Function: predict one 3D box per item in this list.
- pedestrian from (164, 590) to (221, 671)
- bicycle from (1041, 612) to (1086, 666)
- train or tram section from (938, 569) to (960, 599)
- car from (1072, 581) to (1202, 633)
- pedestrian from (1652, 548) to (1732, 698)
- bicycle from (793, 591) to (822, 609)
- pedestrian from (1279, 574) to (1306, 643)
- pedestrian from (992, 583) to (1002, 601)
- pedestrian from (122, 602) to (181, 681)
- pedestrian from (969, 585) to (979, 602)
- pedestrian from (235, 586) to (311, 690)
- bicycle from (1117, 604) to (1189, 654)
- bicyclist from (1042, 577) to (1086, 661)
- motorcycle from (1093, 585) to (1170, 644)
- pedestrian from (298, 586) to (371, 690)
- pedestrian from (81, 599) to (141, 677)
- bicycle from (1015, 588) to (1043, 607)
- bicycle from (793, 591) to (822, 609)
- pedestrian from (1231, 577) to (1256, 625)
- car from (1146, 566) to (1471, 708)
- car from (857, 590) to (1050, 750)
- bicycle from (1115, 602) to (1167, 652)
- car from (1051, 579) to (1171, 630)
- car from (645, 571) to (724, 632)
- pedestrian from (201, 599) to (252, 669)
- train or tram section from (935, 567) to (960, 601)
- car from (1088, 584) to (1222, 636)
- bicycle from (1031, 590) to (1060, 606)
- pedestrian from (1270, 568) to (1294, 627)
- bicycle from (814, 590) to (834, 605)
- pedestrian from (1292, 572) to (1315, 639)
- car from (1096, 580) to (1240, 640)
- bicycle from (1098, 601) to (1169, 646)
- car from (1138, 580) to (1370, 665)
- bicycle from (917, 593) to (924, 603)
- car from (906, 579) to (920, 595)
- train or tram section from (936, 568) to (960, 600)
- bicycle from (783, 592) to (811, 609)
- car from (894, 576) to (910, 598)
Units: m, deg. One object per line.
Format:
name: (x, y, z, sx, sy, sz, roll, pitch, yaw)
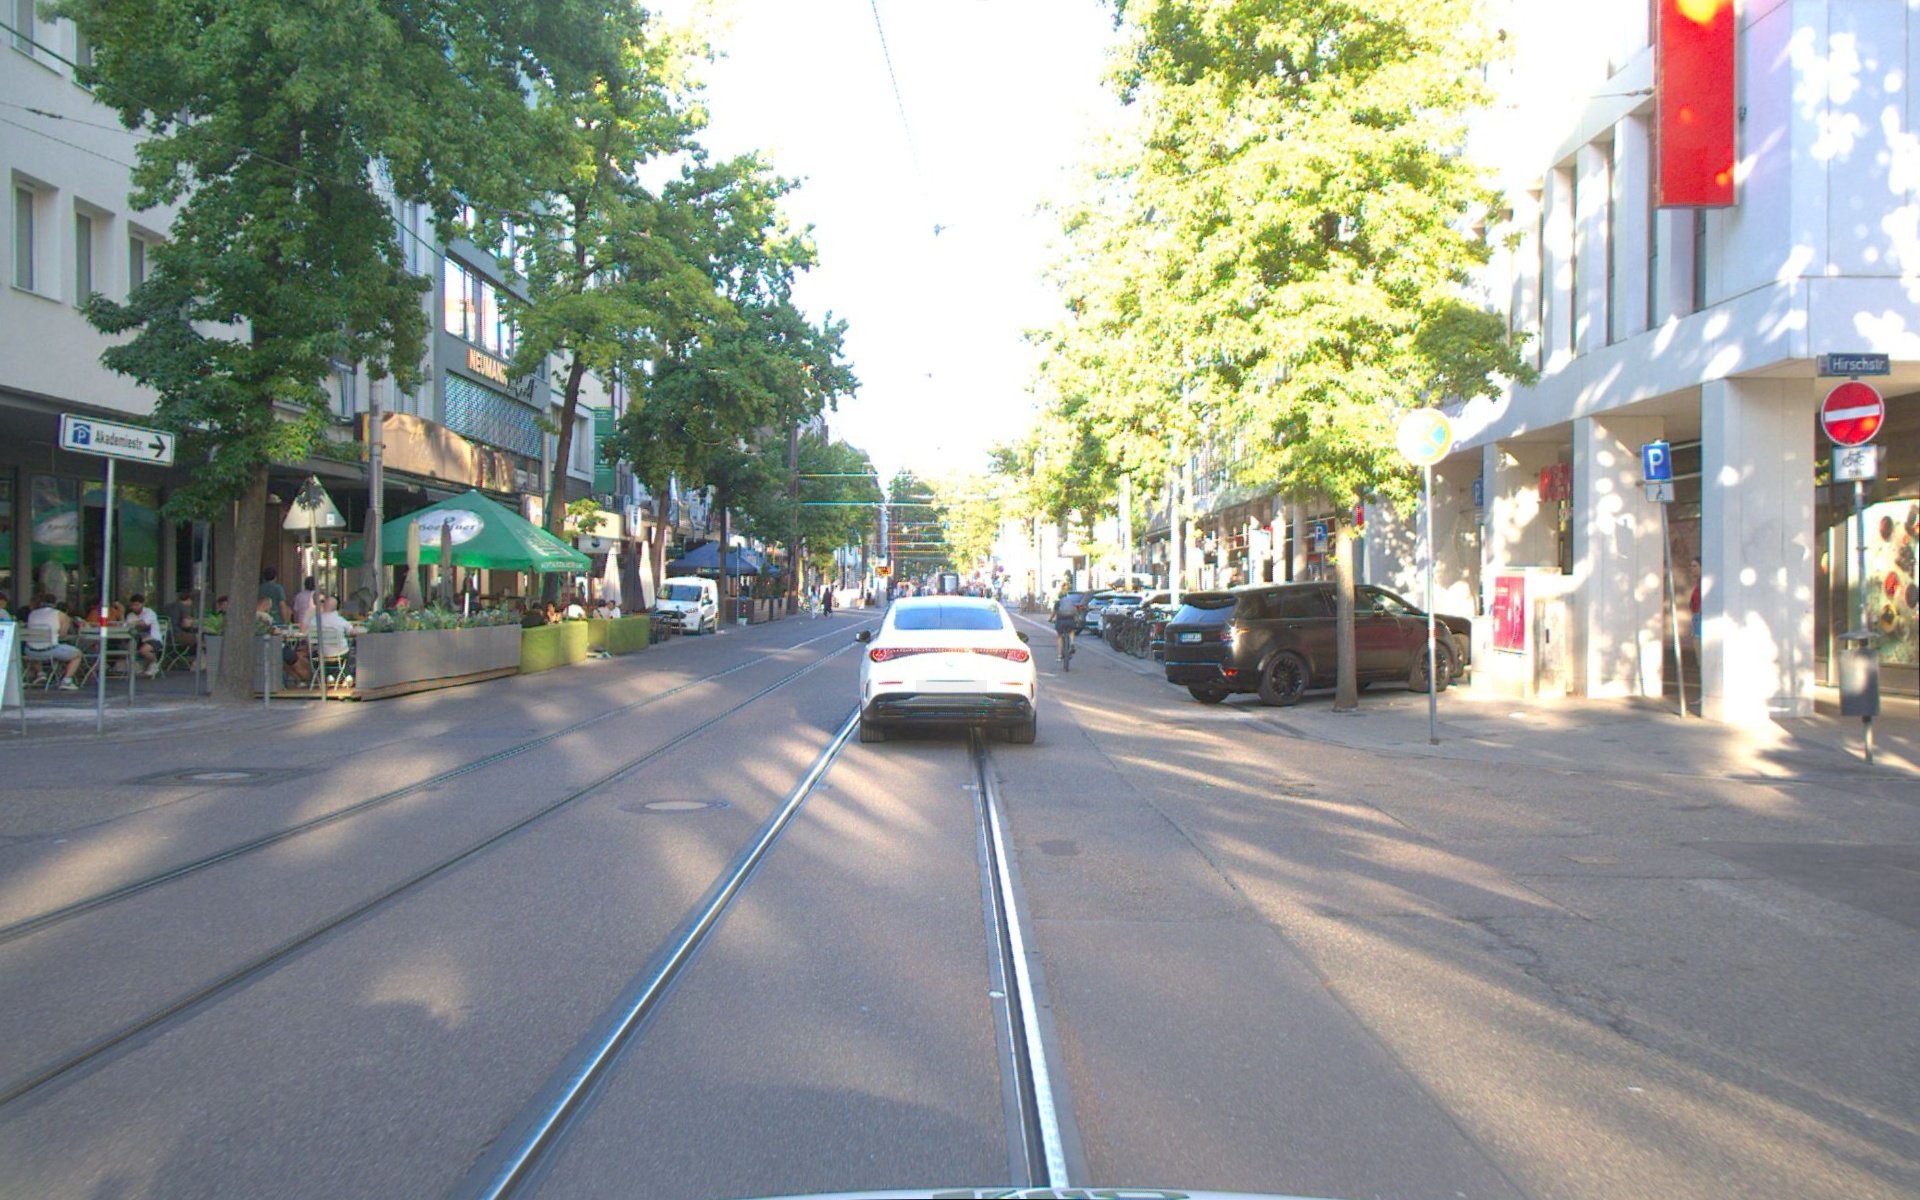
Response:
pedestrian: (-12.873, 0.504, 27.746, 0.590, 1.321, 0.687, 2, 0, 0)
bicycle: (2.106, 0.773, 33.426, 0.703, 1.012, 2.060, 2, 1, 9)
train or tram section: (-1.401, -1.954, 205.222, 2.639, 3.578, 11.142, 0, 0, 0)
car: (6.160, 0.237, 57.450, 4.194, 1.615, 1.864, -3, 1, -32)
pedestrian: (9.244, 0.288, 20.876, 0.740, 1.850, 0.801, -3, -1, 33)
bicycle: (-9.507, 0.007, 102.909, 1.754, 1.096, 0.377, 1, 0, -5)
pedestrian: (8.691, 0.222, 43.241, 0.512, 1.781, 0.559, -2, 0, 2)
pedestrian: (3.958, -0.864, 177.107, 0.941, 1.816, 0.803, -2, 0, -1)
pedestrian: (-12.493, 0.635, 25.579, 0.541, 1.182, 0.687, 2, 0, 0)
pedestrian: (1.554, -0.700, 182.887, 0.941, 1.816, 0.803, -2, 0, -1)
pedestrian: (-9.623, 0.519, 23.193, 0.675, 1.410, 0.807, 2, 0, 0)
bicycle: (4.790, 0.705, 41.001, 1.543, 1.107, 0.860, -4, 2, -31)
bicyclist: (2.095, 0.371, 33.275, 0.761, 1.641, 0.913, 2, 0, 9)
motorcycle: (4.868, 0.407, 46.764, 2.302, 1.536, 0.845, -3, 0, -44)
pedestrian: (-8.793, 0.521, 23.282, 0.675, 1.410, 0.807, 2, 0, 0)
pedestrian: (-13.126, 0.580, 25.590, 0.541, 1.182, 0.687, 2, 0, 0)
bicycle: (5.021, -0.208, 120.327, 1.874, 1.303, 0.608, -2, 0, -12)
bicycle: (-9.472, 0.007, 102.481, 1.754, 1.096, 0.377, 1, 0, -5)
pedestrian: (9.931, 0.032, 57.999, 0.699, 1.652, 0.882, -1, 0, 1)
car: (5.256, 0.496, 24.839, 4.603, 1.794, 1.975, -3, 0, -30)
car: (-0.071, 0.656, 17.856, 1.819, 1.481, 4.175, 1, 0, 0)
bicycle: (4.738, 0.701, 43.248, 0.472, 1.183, 1.687, -3, 0, 39)
car: (5.619, 0.154, 61.433, 4.300, 1.681, 1.676, -3, 1, -32)
car: (-9.215, 0.040, 55.713, 1.759, 1.897, 4.554, 3, 1, 1)
pedestrian: (-12.683, 0.577, 28.601, 0.541, 1.182, 0.687, 2, 0, 0)
train or tram section: (-1.332, -1.752, 180.829, 2.639, 3.578, 12.544, 0, 0, 0)
car: (6.455, 0.316, 54.681, 4.092, 1.525, 1.676, -3, 1, -24)
bicycle: (6.339, -0.144, 122.654, 2.077, 1.115, 0.608, -1, 0, -13)
pedestrian: (9.876, -0.070, 50.719, 0.545, 1.781, 0.525, -2, 0, 0)
bicycle: (-10.018, -0.194, 121.900, 1.465, 1.047, 0.344, 1, 0, -11)
pedestrian: (8.978, 0.146, 43.217, 0.506, 1.726, 0.550, 0, 0, 4)
car: (6.290, 0.293, 49.985, 4.110, 1.598, 1.833, -3, 1, -34)
bicycle: (4.734, 0.638, 45.172, 1.870, 1.139, 0.661, -3, 0, -30)
car: (6.321, 0.463, 35.326, 5.006, 1.494, 1.952, -3, 1, -37)
bicycle: (-4.562, -0.228, 190.391, 0.784, 1.162, 2.256, 2, 0, -2)
car: (-7.130, -1.955, 250.034, 1.870, 2.504, 5.275, 0, 0, 0)
train or tram section: (-1.364, -1.858, 193.381, 2.639, 3.578, 12.544, 0, 0, 0)
bicycle: (-9.784, 0.017, 99.281, 1.561, 0.947, 0.377, 1, 0, 6)
car: (-8.062, -1.845, 231.267, 1.952, 2.948, 5.275, 0, 0, 0)
